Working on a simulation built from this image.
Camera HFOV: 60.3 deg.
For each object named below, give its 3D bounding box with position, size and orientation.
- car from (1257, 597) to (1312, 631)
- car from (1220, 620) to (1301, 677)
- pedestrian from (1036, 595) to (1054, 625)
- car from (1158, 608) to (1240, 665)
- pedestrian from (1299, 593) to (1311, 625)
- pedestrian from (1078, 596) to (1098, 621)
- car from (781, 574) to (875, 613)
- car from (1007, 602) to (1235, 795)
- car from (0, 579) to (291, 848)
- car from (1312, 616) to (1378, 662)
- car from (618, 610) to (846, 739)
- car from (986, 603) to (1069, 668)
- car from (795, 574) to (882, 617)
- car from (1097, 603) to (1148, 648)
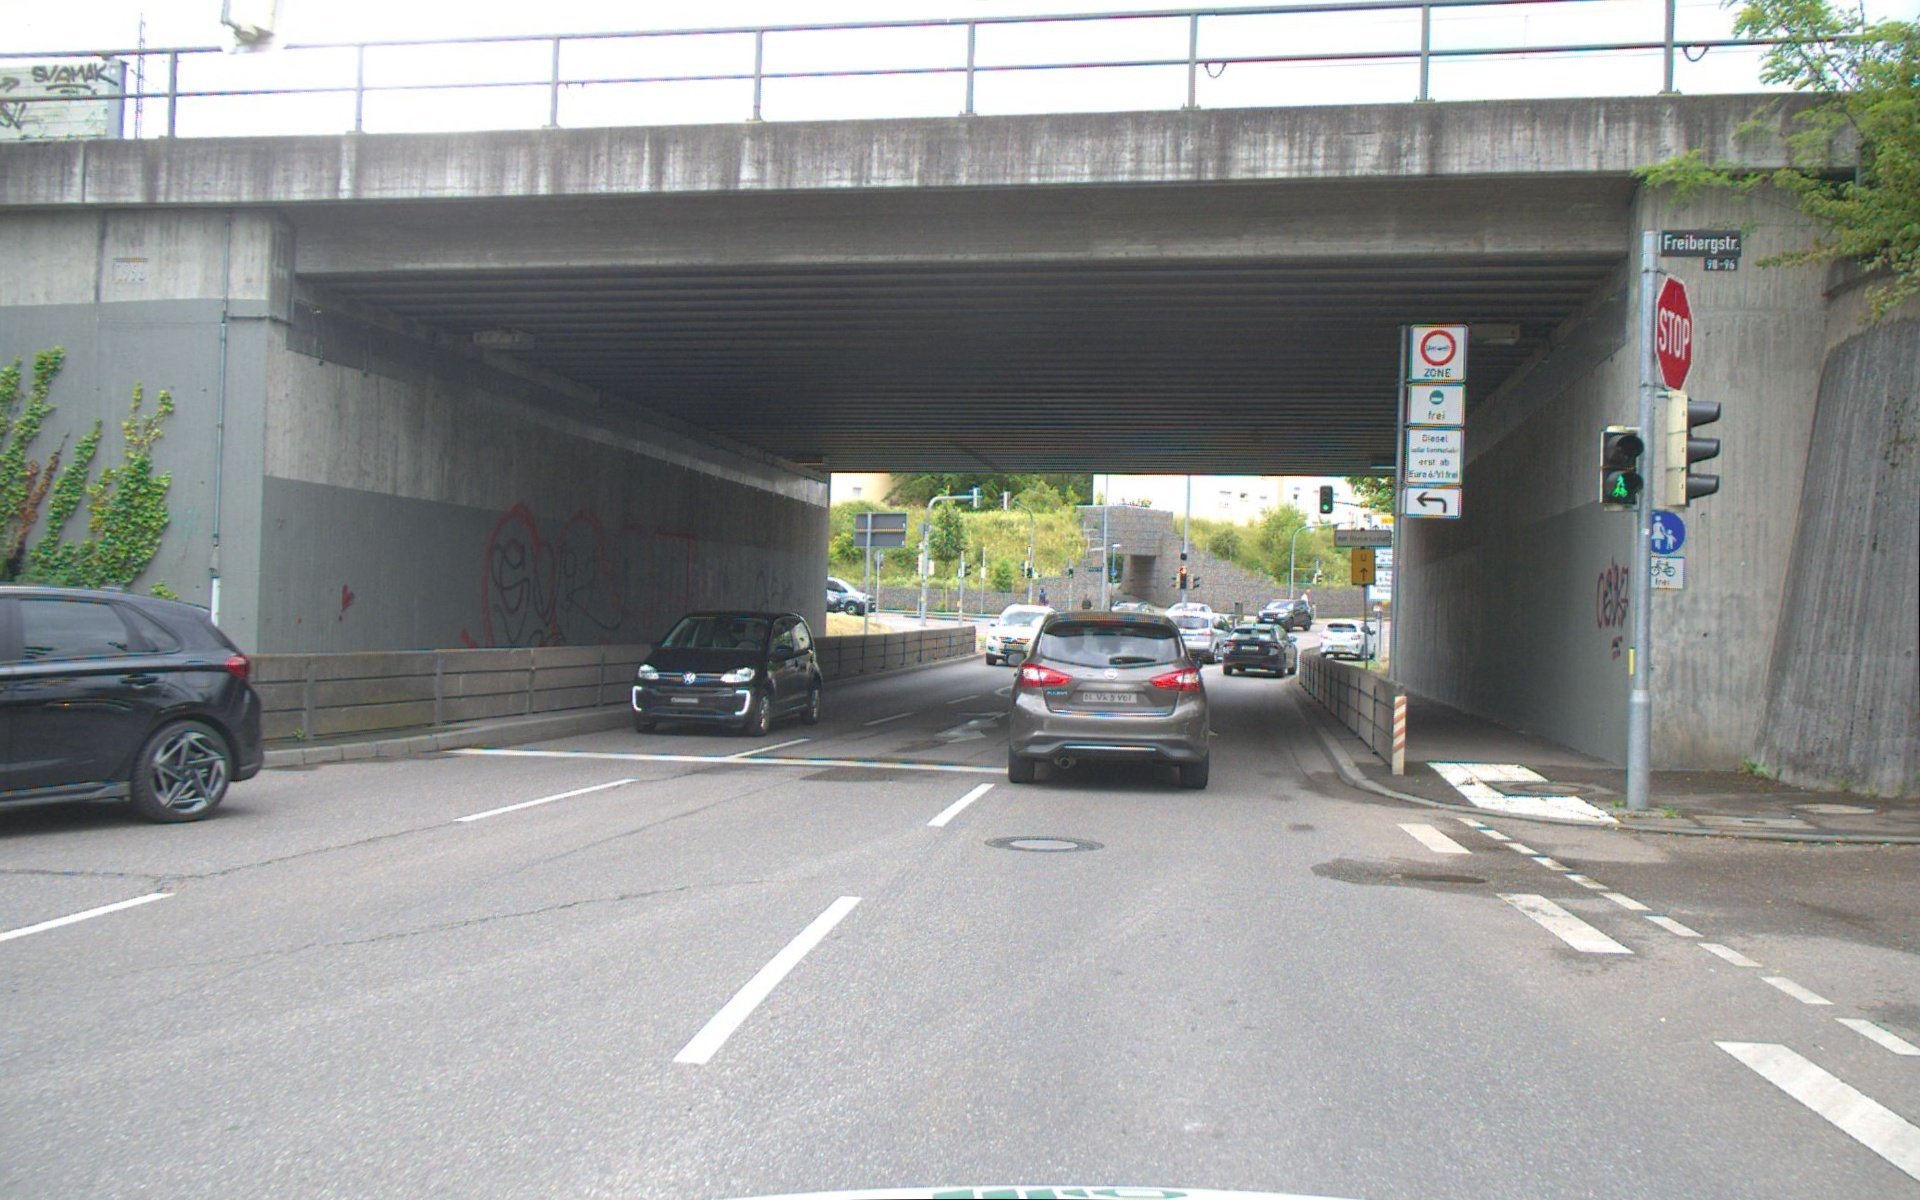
[{"bbox_3d":[17.460,0.780,88.848,1.954,1.727,4.164,2,0,25],"label":"car"},{"bbox_3d":[8.744,1.378,47.915,1.860,1.492,4.002,1,0,17],"label":"car"},{"bbox_3d":[4.807,0.584,93.312,0.933,1.641,0.700,2,0,1],"label":"pedestrian"},{"bbox_3d":[8.041,1.205,55.303,1.793,1.735,3.868,3,0,22],"label":"car"},{"bbox_3d":[21.015,0.532,100.775,0.591,1.895,0.597,2,0,14],"label":"pedestrian"},{"bbox_3d":[6.757,0.446,87.430,0.891,1.245,0.729,5,1,2],"label":"pedestrian"},{"bbox_3d":[-6.115,-0.287,77.006,3.903,1.623,1.873,3,0,15],"label":"car"},{"bbox_3d":[1.378,0.828,15.595,1.806,1.519,4.000,2,-1,1],"label":"car"},{"bbox_3d":[-6.268,0.610,9.600,1.784,1.503,4.126,2,0,32],"label":"car"},{"bbox_3d":[14.910,1.490,63.968,1.952,1.646,4.000,2,0,21],"label":"car"},{"bbox_3d":[-2.767,0.890,20.981,1.686,1.434,4.003,1,-1,10],"label":"car"},{"bbox_3d":[1.962,1.004,47.148,1.745,1.689,4.112,2,-1,11],"label":"car"},{"bbox_3d":[-6.014,-0.210,82.092,3.902,1.982,2.002,2,0,8],"label":"car"},{"bbox_3d":[6.684,1.010,67.852,1.651,1.738,3.793,1,0,11],"label":"car"}]
